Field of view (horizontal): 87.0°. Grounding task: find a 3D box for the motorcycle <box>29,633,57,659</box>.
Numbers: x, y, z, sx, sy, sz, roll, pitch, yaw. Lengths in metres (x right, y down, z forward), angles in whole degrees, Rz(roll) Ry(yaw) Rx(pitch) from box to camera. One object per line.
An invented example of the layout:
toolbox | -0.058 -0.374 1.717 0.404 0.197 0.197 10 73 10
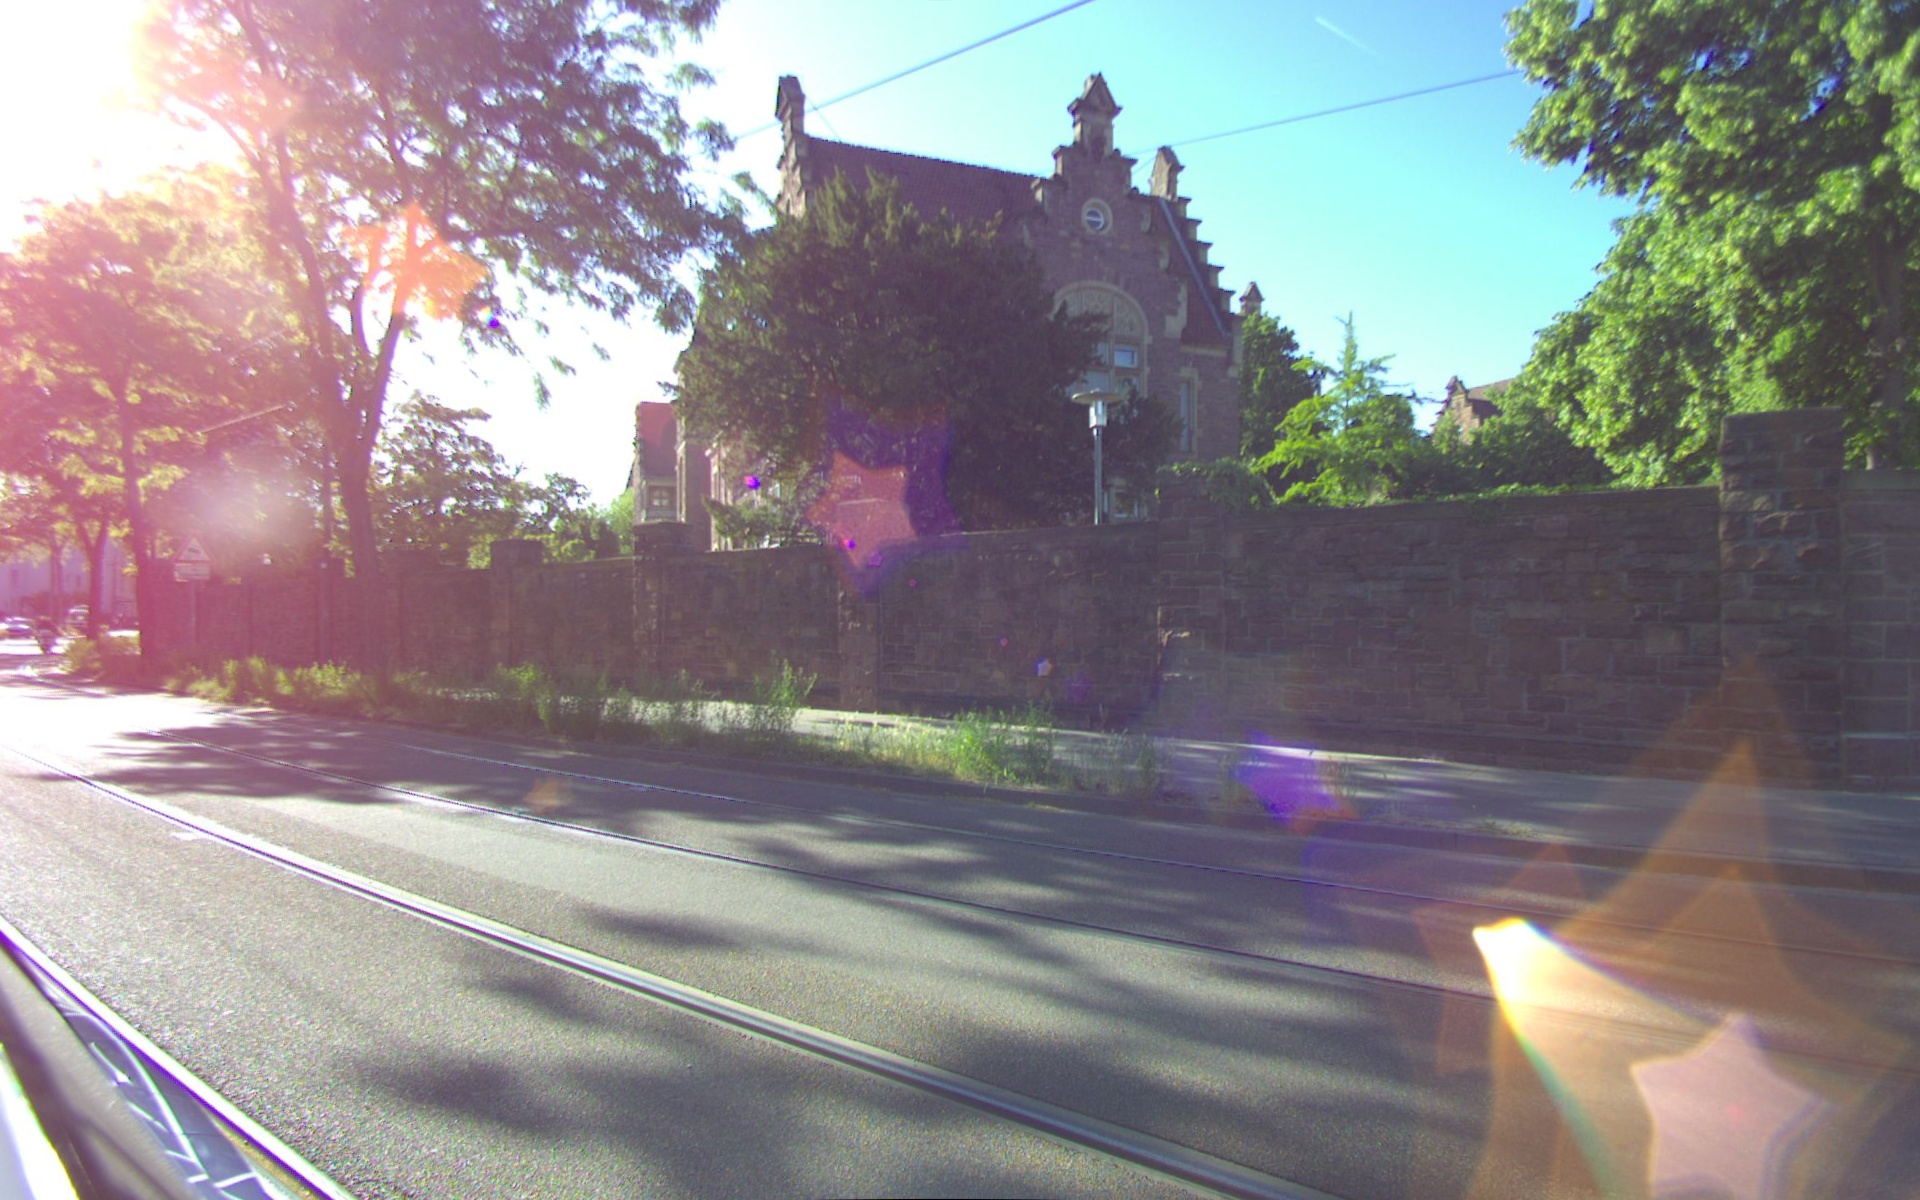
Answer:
motorcycle | -40.254 1.995 44.413 1.853 1.101 0.603 -1 -1 37

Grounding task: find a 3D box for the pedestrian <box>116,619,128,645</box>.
pedestrian | -79.193 3.000 95.658 0.756 2.385 0.929 -1 0 -33

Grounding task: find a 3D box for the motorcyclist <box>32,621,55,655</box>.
motorcyclist | -40.236 1.660 44.417 0.445 1.451 0.678 -1 -1 34

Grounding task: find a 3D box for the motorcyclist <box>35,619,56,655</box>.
motorcyclist | -39.833 1.602 44.081 0.465 1.527 0.601 -1 -1 37
